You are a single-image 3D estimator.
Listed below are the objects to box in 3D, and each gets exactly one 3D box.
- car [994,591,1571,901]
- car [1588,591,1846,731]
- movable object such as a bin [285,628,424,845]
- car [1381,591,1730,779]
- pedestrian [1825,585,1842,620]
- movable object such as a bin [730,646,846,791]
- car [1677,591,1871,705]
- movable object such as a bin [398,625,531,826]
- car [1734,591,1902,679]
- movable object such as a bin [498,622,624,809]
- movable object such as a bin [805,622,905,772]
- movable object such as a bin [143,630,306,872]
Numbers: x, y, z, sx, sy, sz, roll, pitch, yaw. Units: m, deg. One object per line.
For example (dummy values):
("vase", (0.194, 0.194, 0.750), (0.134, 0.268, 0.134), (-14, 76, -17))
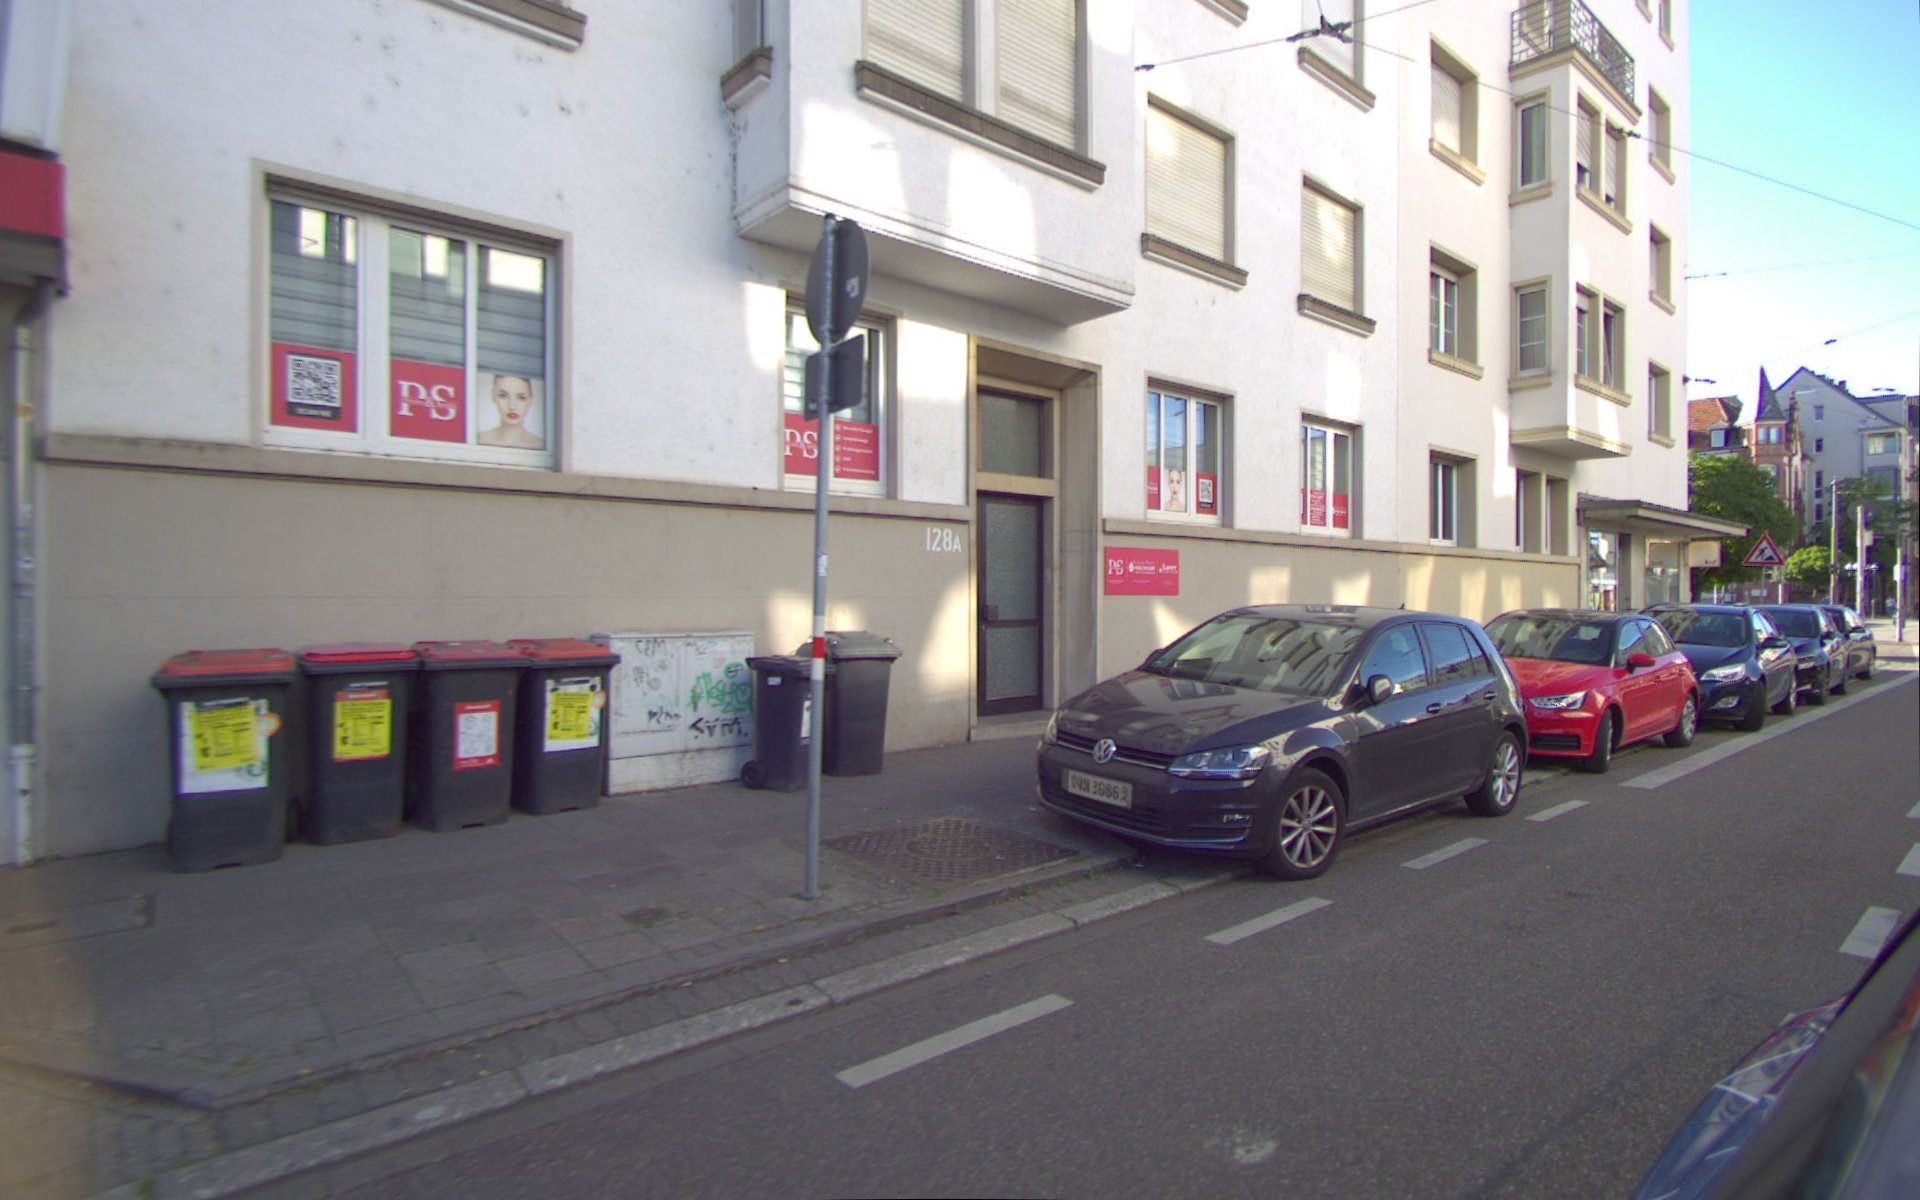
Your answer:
("car", (2.410, 0.691, 6.940), (4.281, 1.424, 1.715), (0, 3, -40))
("car", (10.276, 0.685, 13.648), (4.023, 1.526, 1.862), (0, 3, -40))
("movable object such as a bin", (-3.393, 0.716, 5.663), (0.560, 1.086, 0.676), (0, 0, -42))
("car", (6.257, 0.702, 10.480), (3.918, 1.490, 1.862), (0, 3, -40))
("pedestrian", (50.673, 0.136, 58.696), (0.645, 1.980, 0.577), (0, 0, 33))
("movable object such as a bin", (-1.229, 0.812, 7.222), (0.560, 0.928, 0.656), (0, 0, -42))
("car", (13.504, 0.667, 16.691), (4.431, 1.526, 1.860), (-1, 3, -43))
("movable object such as a bin", (-2.964, 0.705, 6.042), (0.560, 1.086, 0.676), (0, 0, -42))
("car", (17.504, 0.615, 20.558), (4.831, 1.526, 1.753), (0, 3, -40))
("movable object such as a bin", (-2.552, 0.696, 6.463), (0.560, 1.086, 0.676), (0, 0, -42))
("movable object such as a bin", (-0.804, 0.712, 7.743), (0.545, 1.070, 0.559), (0, 0, -42))
("movable object such as a bin", (-3.784, 0.717, 5.197), (0.607, 1.086, 0.771), (0, 0, -42))
